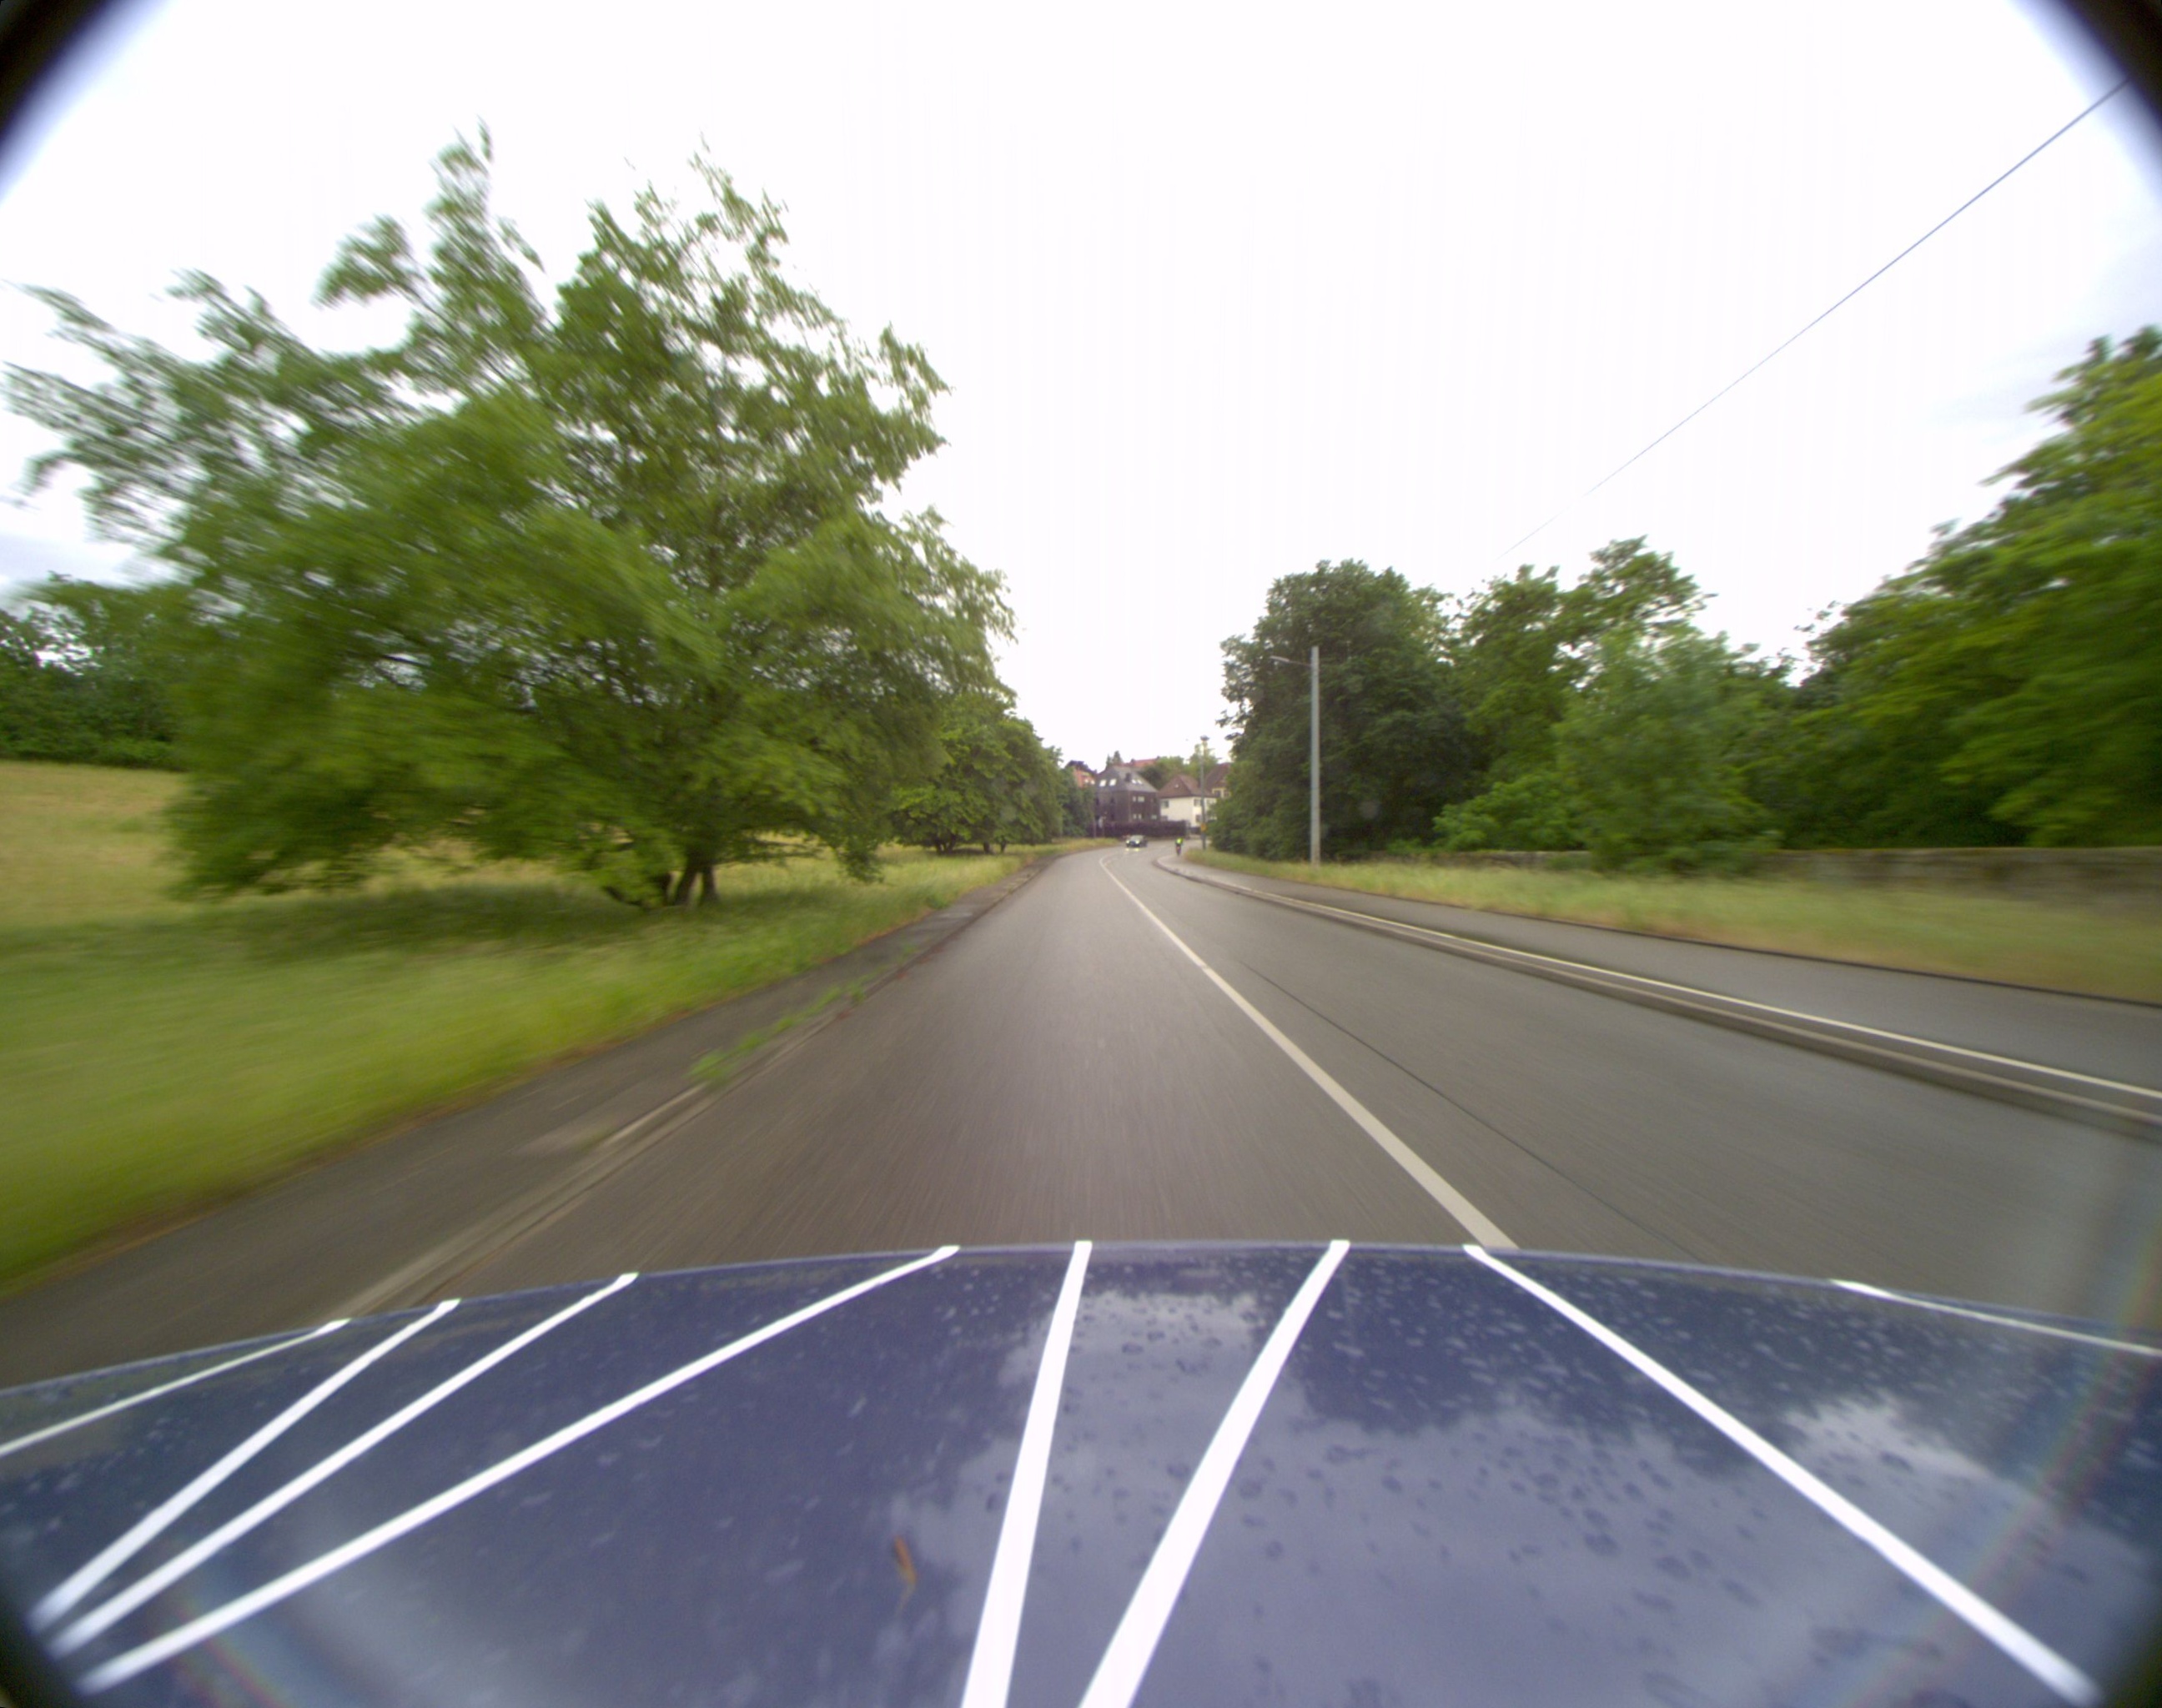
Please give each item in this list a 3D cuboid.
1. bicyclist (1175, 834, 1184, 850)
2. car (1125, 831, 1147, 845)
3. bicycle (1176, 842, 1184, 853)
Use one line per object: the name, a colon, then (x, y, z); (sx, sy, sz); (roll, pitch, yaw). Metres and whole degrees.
bicyclist: (9.453, -1.168, 72.807); (0.710, 1.547, 1.171); (-3, 1, 8)
car: (7.097, -2.085, 97.451); (1.996, 1.707, 4.005); (-1, 1, 17)
bicycle: (9.516, -0.626, 72.991); (0.725, 0.936, 2.551); (-3, 1, 8)
